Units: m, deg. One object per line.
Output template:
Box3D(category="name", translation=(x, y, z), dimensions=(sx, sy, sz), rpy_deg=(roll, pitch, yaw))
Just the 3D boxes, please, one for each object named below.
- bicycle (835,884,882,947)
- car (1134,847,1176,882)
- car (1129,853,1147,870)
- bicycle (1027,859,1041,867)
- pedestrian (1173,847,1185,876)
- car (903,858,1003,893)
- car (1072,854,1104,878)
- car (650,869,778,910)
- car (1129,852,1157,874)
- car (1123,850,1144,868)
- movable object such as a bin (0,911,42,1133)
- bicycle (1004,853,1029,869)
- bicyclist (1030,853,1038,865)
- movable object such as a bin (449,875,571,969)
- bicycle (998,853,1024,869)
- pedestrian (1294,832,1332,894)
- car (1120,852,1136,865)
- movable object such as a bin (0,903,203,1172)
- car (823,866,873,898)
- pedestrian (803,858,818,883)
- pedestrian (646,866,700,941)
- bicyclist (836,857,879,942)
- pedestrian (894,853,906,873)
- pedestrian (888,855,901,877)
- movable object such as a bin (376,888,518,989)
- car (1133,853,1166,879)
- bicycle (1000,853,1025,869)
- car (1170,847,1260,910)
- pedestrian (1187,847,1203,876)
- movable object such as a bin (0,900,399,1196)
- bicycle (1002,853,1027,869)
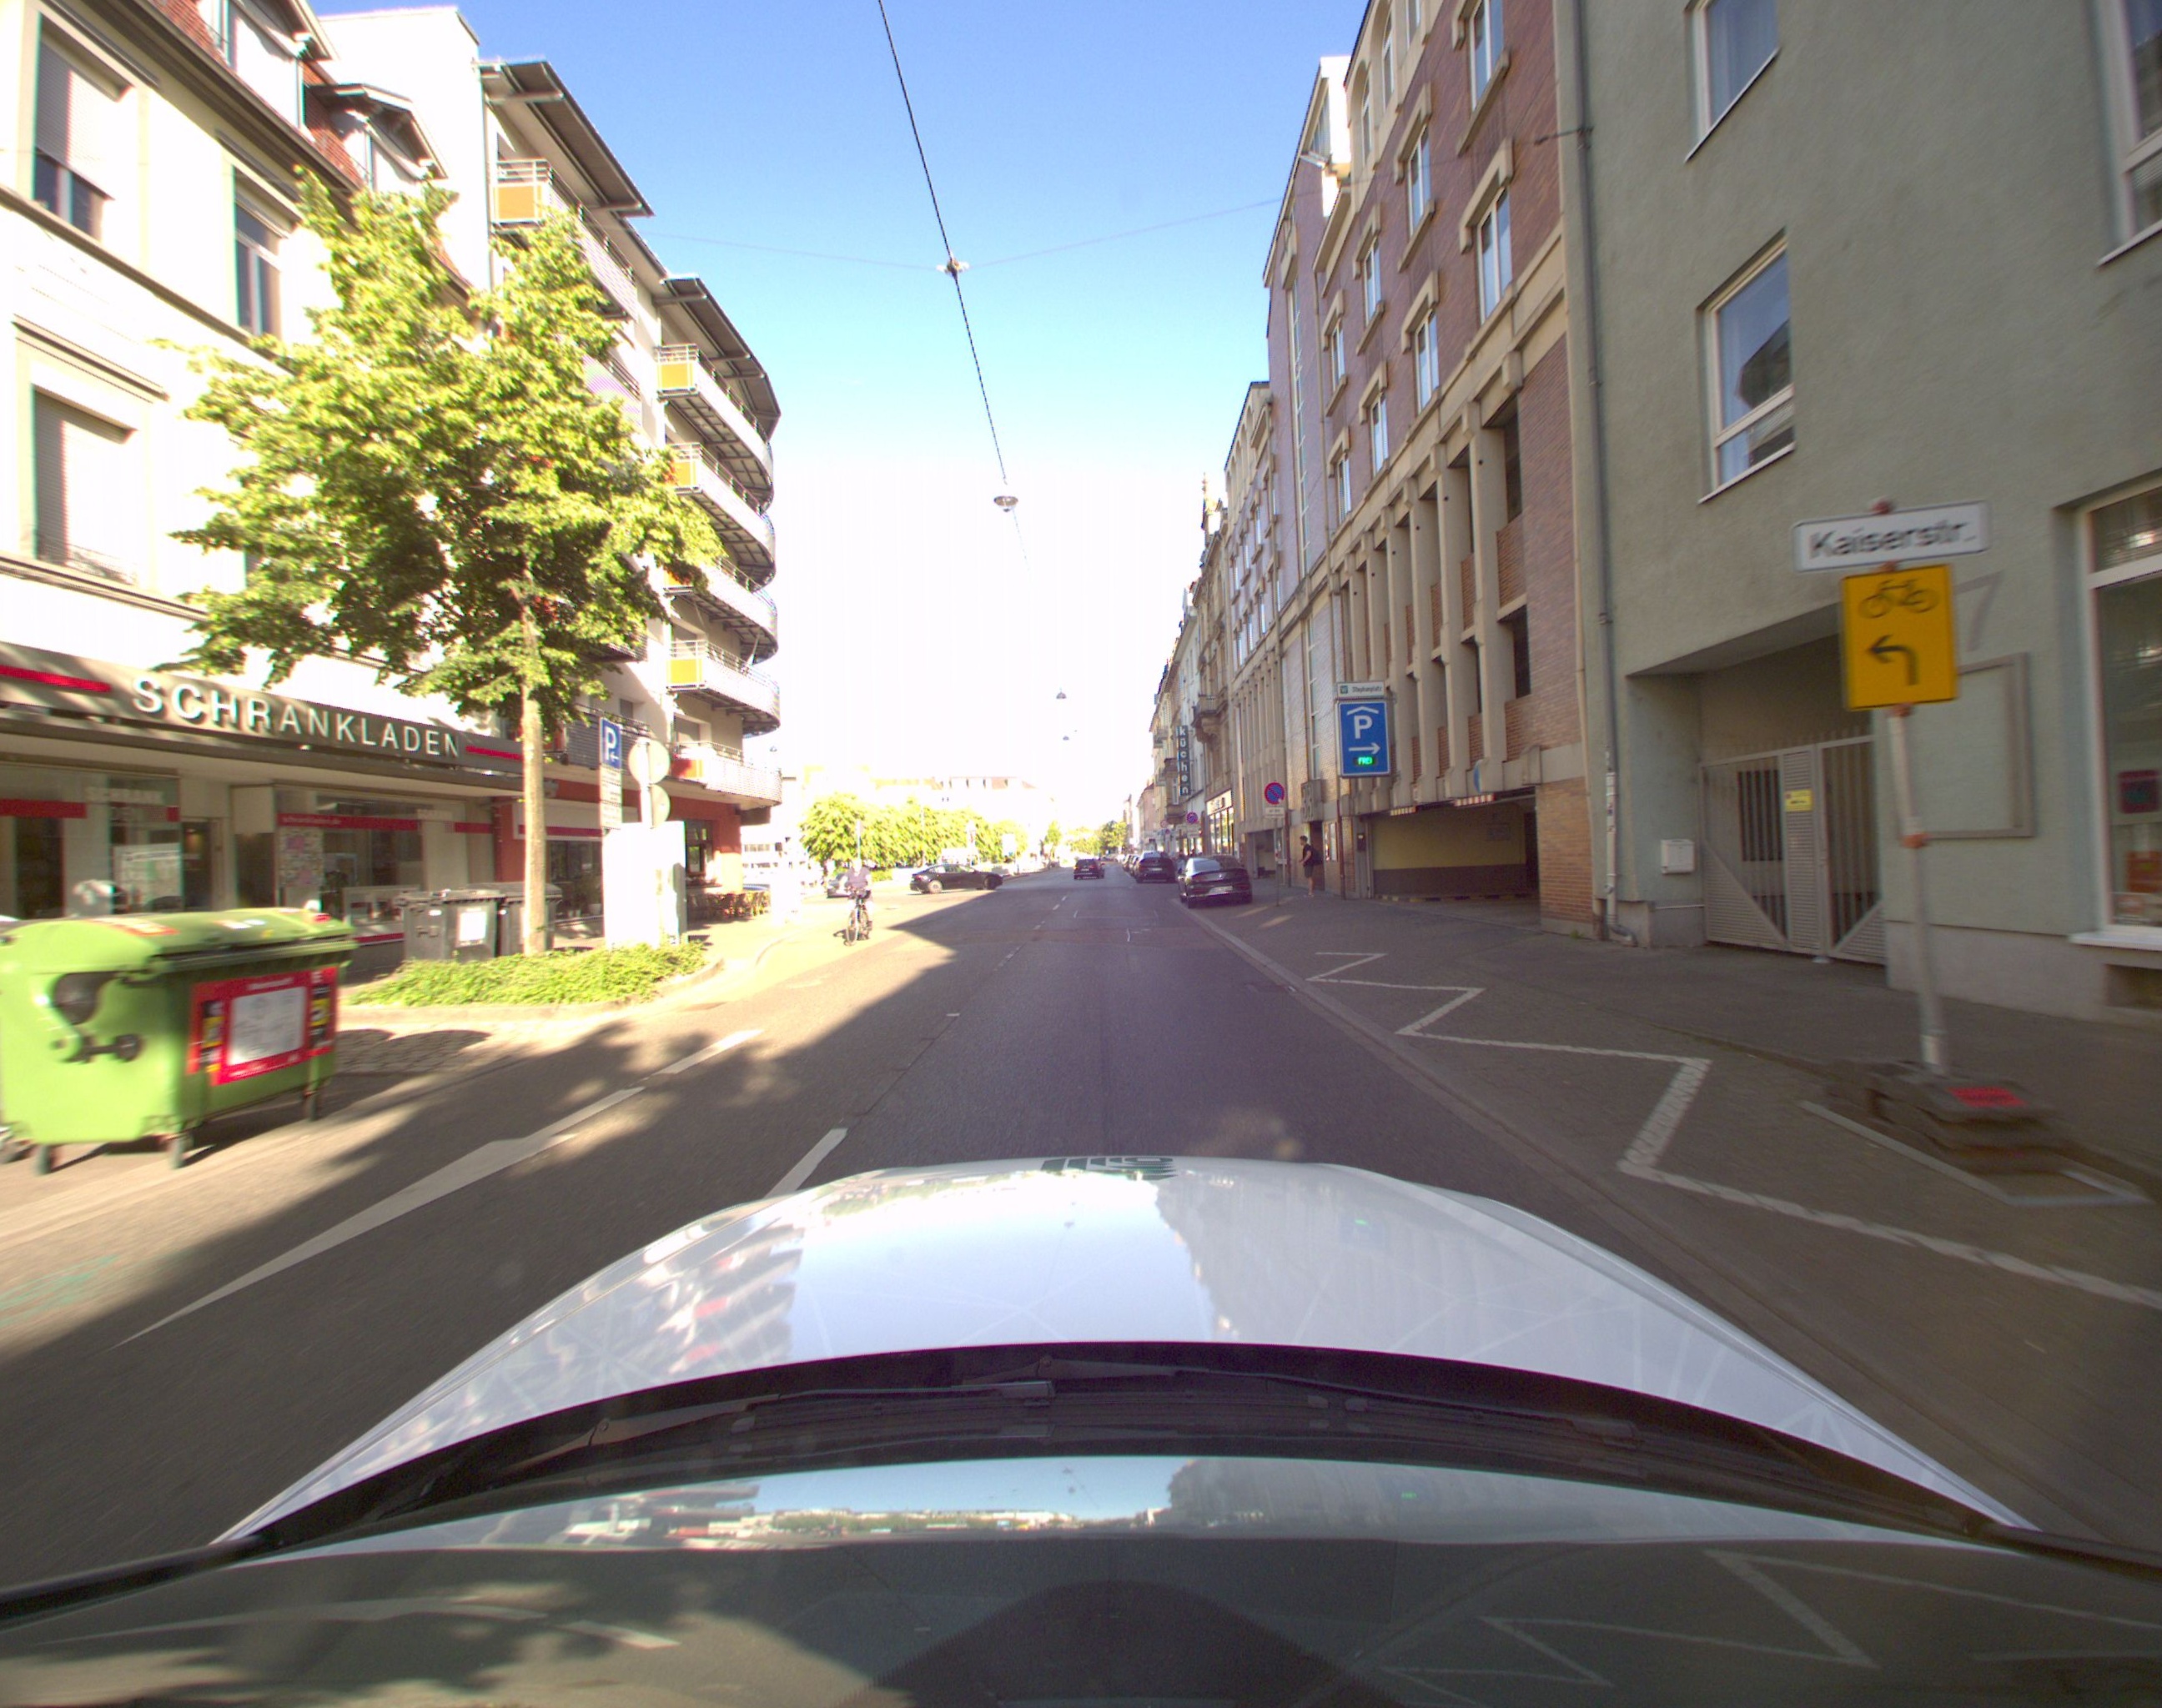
Box3D(category="bicycle", translation=(-4.616, 1.241, 16.973), dimensions=(0.705, 1.146, 1.960), rpy_deg=(-3, 0, -10))
Box3D(category="car", translation=(3.911, 0.509, 43.766), dimensions=(1.966, 1.725, 4.826), rpy_deg=(-1, 0, 2))
Box3D(category="car", translation=(5.149, 0.668, 74.061), dimensions=(1.607, 1.546, 2.857), rpy_deg=(-1, 0, 3))
Box3D(category="bicycle", translation=(-6.890, 1.287, 120.063), dimensions=(2.006, 1.022, 0.762), rpy_deg=(-2, 0, -2))
Box3D(category="pedestrian", translation=(5.982, 0.467, 49.913), dimensions=(0.617, 1.766, 0.519), rpy_deg=(-3, 0, 4))
Box3D(category="car", translation=(-6.342, 1.042, 40.417), dimensions=(4.502, 1.480, 1.985), rpy_deg=(-2, 0, -25))
Box3D(category="car", translation=(0.519, 0.778, 56.128), dimensions=(1.926, 1.487, 4.275), rpy_deg=(-2, 0, 4))
Box3D(category="car", translation=(-16.755, 1.576, 37.382), dimensions=(5.126, 1.423, 1.984), rpy_deg=(-4, 0, -25))
Box3D(category="car", translation=(4.612, 0.639, 61.014), dimensions=(1.832, 1.546, 4.229), rpy_deg=(-1, 0, 1))
Box3D(category="car", translation=(5.125, 0.530, 79.787), dimensions=(1.711, 1.635, 4.083), rpy_deg=(-1, -1, 0))
Box3D(category="movable object such as a bin", translation=(-7.748, 1.152, 5.093), dimensions=(0.960, 1.471, 1.143), rpy_deg=(-3, 0, 0))
Box3D(category="bicycle", translation=(-8.604, 0.896, 108.862), dimensions=(3.101, 2.013, 0.911), rpy_deg=(-2, 0, 10))
Box3D(category="bicyclist", translation=(-6.966, 0.739, 120.070), dimensions=(1.143, 1.686, 0.819), rpy_deg=(-2, 0, -2))
Box3D(category="movable object such as a bin", translation=(-9.527, 1.101, 13.658), dimensions=(1.038, 1.404, 1.314), rpy_deg=(-3, 0, 0))
Box3D(category="bicycle", translation=(-9.132, 0.901, 105.879), dimensions=(3.101, 2.013, 0.911), rpy_deg=(-2, 0, 10))
Box3D(category="pedestrian", translation=(6.435, 0.255, 22.618), dimensions=(0.689, 1.635, 0.889), rpy_deg=(-5, 0, 1))
Box3D(category="car", translation=(5.560, 0.600, 97.136), dimensions=(1.785, 1.460, 3.869), rpy_deg=(-1, -1, 2))
Box3D(category="movable object such as a bin", translation=(-6.706, 1.105, 5.128), dimensions=(1.038, 1.471, 1.143), rpy_deg=(-3, 0, 0))
Box3D(category="car", translation=(-13.056, 1.533, 45.842), dimensions=(1.745, 1.422, 4.532), rpy_deg=(-3, 1, -4))
Box3D(category="pedestrian", translation=(-23.876, 1.452, 71.969), dimensions=(0.725, 2.108, 0.973), rpy_deg=(-2, 0, 24))
Box3D(category="pedestrian", translation=(-9.562, 1.139, 19.119), dimensions=(0.662, 1.659, 1.037), rpy_deg=(-3, 0, 1))
Box3D(category="bicyclist", translation=(-4.612, 0.920, 16.882), dimensions=(0.697, 1.653, 1.032), rpy_deg=(-3, 0, -11))
Box3D(category="pedestrian", translation=(-19.614, 1.008, 88.344), dimensions=(0.725, 2.108, 0.973), rpy_deg=(-2, 0, 24))
Box3D(category="pedestrian", translation=(-18.263, 1.215, 79.738), dimensions=(0.725, 2.108, 0.973), rpy_deg=(-2, 0, 24))
Box3D(category="movable object such as a bin", translation=(-9.546, 1.239, 12.338), dimensions=(1.038, 1.345, 1.314), rpy_deg=(-3, 0, 0))
Box3D(category="car", translation=(4.224, 0.713, 50.636), dimensions=(1.832, 1.487, 4.186), rpy_deg=(-1, 0, 2))
Box3D(category="bicycle", translation=(-8.984, 0.885, 106.832), dimensions=(3.101, 2.013, 0.911), rpy_deg=(-2, 0, 10))
Box3D(category="car", translation=(3.873, 0.653, 24.336), dimensions=(1.910, 1.478, 4.967), rpy_deg=(-6, 0, 2))
Box3D(category="pedestrian", translation=(6.959, 0.443, 49.821), dimensions=(0.797, 1.674, 0.590), rpy_deg=(-4, 0, 4))
Box3D(category="movable object such as a bin", translation=(-5.482, 1.096, 5.148), dimensions=(1.038, 1.471, 1.452), rpy_deg=(-3, 0, 0))
Box3D(category="bicycle", translation=(-8.810, 0.868, 107.821), dimensions=(3.101, 2.013, 0.911), rpy_deg=(-2, 0, 10))
